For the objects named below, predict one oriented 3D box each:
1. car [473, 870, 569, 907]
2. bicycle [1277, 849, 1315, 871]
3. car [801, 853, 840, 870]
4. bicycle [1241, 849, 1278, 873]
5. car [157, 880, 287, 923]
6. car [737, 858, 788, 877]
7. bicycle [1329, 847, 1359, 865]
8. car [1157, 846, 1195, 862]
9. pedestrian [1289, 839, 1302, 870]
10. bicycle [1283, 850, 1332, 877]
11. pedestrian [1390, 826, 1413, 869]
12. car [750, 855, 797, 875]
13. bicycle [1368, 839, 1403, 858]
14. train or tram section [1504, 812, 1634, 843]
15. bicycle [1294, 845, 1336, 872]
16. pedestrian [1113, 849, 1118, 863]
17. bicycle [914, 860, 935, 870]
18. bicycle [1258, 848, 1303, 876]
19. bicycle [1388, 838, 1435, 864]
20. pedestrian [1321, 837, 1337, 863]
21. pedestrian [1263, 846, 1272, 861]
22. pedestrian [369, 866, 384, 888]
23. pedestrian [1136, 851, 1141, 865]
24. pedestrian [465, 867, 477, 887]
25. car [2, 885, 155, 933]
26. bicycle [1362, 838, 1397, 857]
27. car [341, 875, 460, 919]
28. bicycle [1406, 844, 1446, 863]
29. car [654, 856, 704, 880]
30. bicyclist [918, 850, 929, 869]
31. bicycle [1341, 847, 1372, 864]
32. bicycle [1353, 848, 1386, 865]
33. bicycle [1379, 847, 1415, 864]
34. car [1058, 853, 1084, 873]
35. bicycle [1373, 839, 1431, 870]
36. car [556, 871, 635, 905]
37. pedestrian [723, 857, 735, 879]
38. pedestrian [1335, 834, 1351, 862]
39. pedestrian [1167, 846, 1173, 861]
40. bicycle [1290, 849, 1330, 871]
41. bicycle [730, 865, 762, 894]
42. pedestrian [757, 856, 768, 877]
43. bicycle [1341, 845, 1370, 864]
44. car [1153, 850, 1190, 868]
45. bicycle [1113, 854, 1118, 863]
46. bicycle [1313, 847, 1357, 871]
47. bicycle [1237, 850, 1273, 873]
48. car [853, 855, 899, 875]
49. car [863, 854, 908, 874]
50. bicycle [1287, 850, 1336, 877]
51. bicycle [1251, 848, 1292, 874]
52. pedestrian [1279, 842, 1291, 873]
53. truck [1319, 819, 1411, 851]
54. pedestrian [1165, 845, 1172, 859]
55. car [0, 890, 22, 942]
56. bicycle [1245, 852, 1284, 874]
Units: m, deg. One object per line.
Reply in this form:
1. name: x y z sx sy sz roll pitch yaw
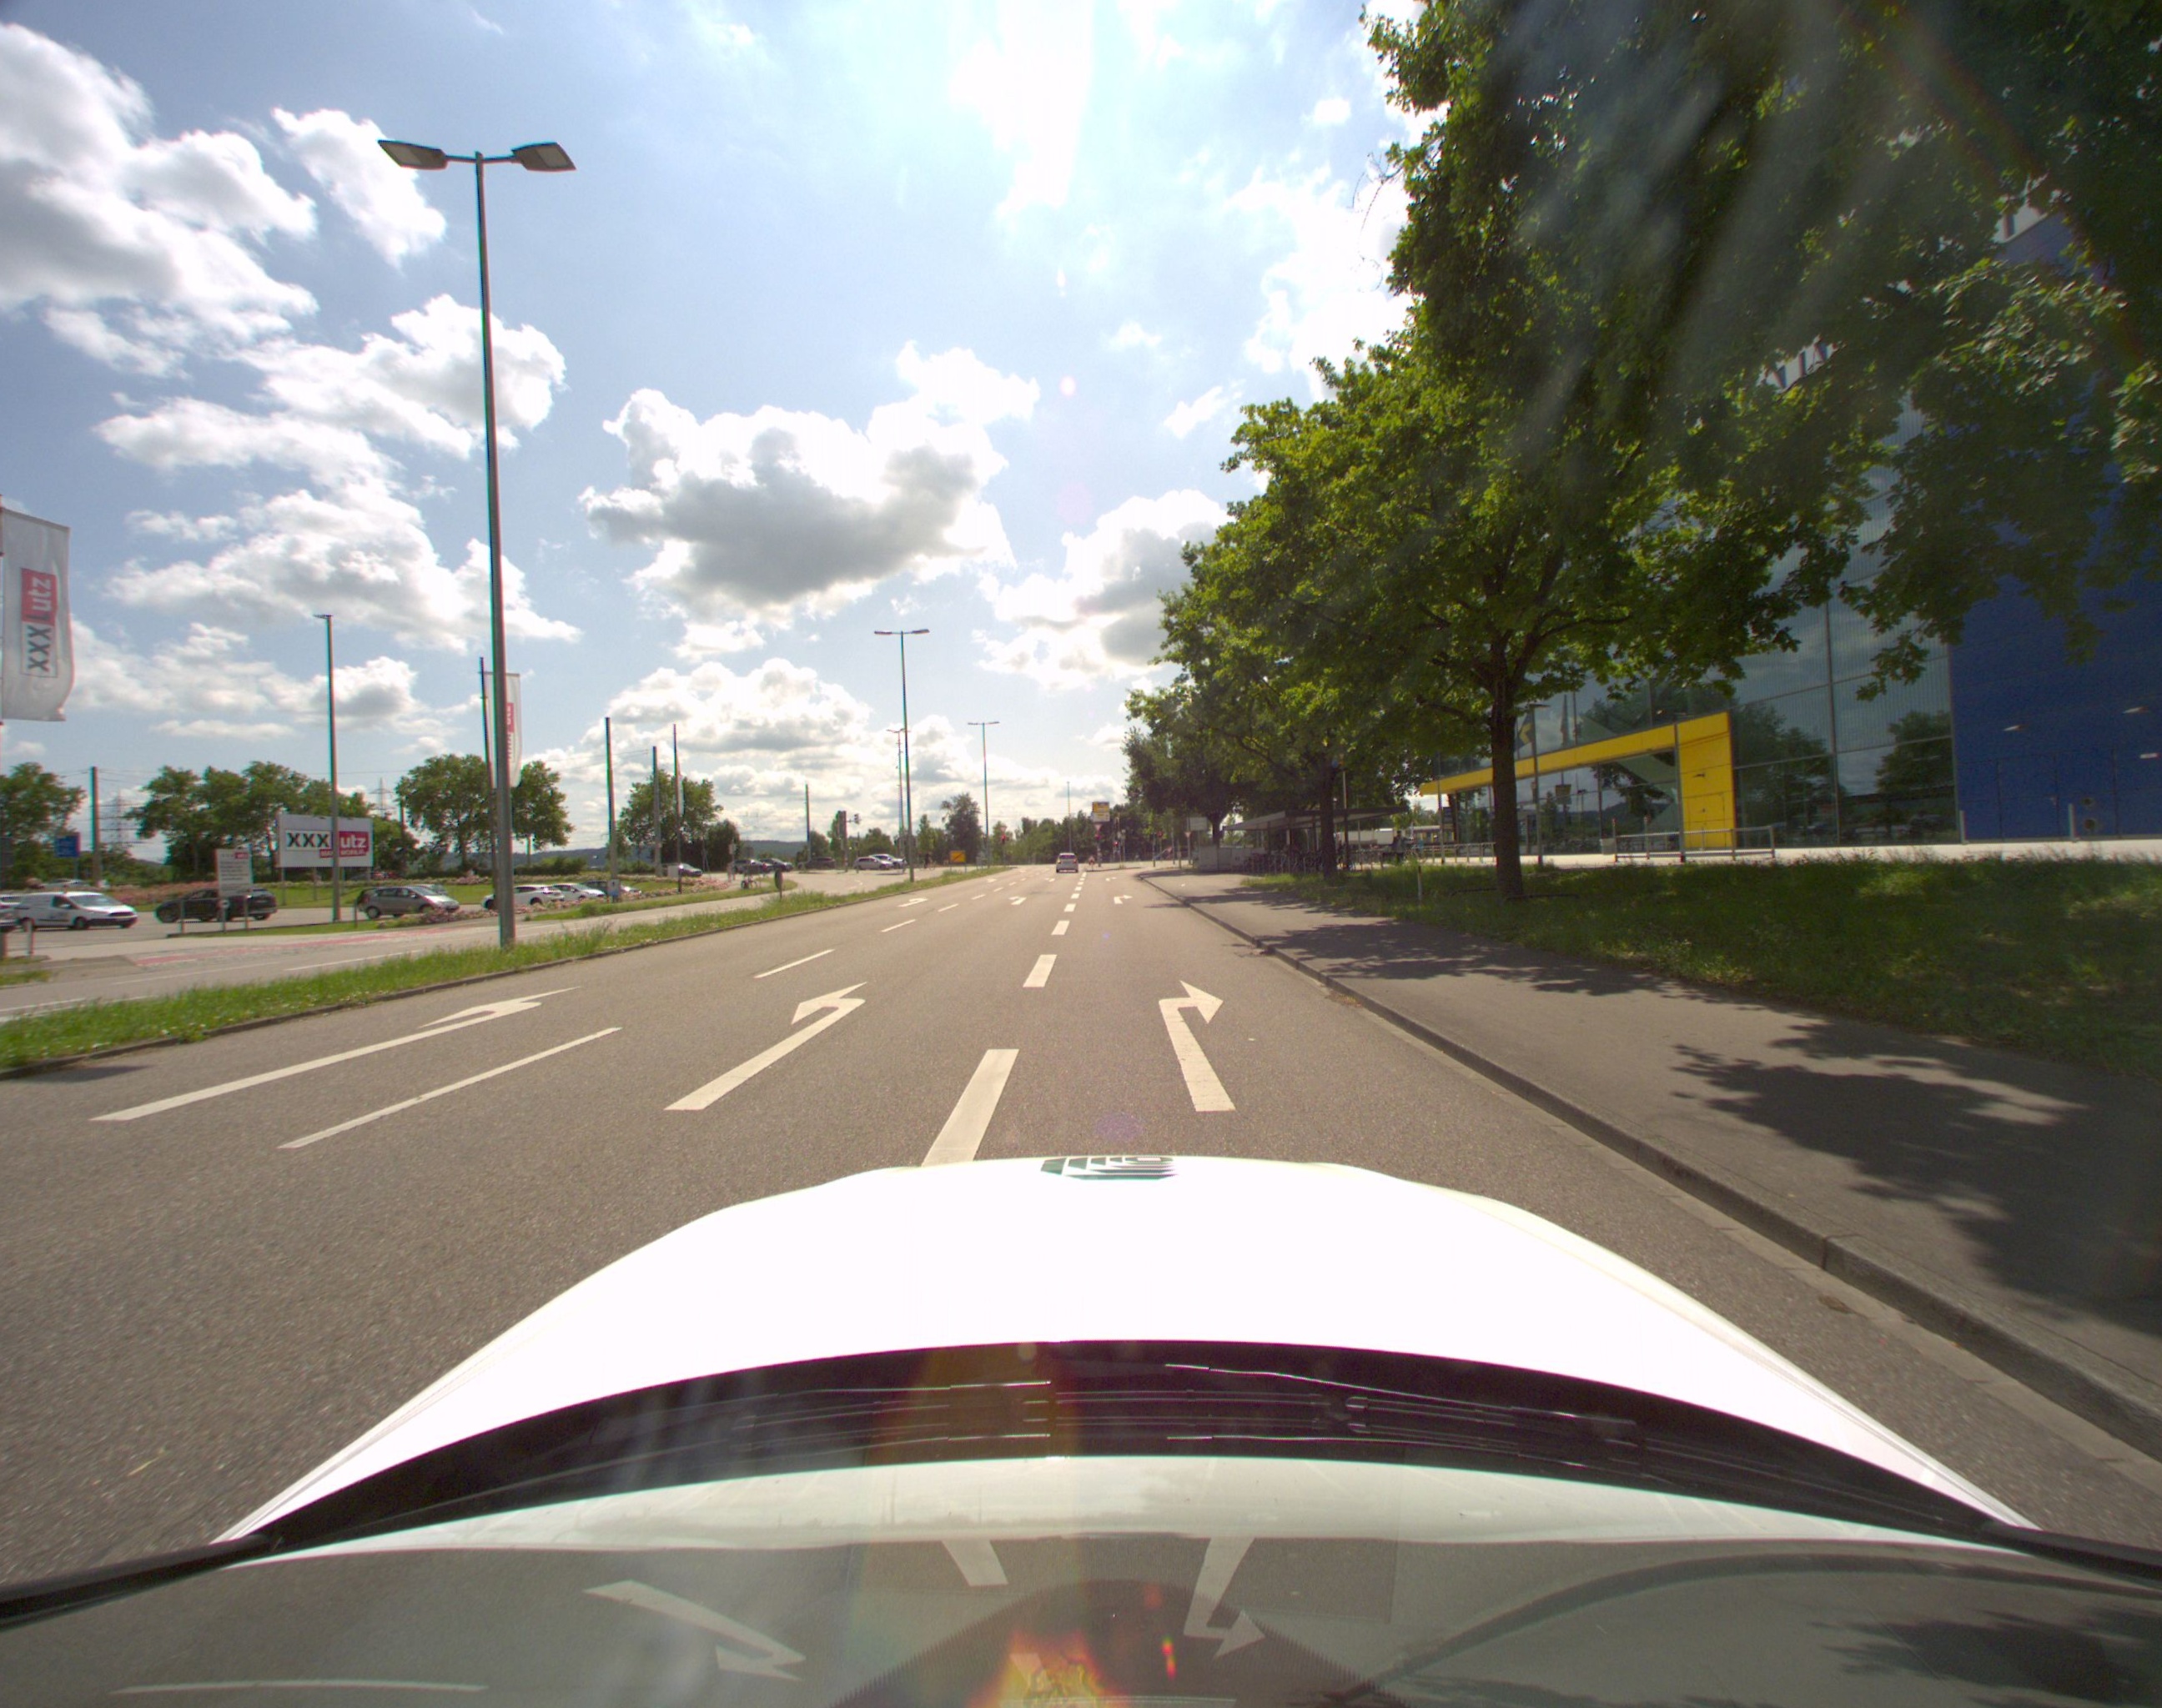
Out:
1. car: -33.814 2.068 49.272 4.334 1.989 2.000 -3 0 0
2. bicycle: 11.548 0.322 43.733 1.854 1.034 0.424 -3 0 2
3. car: -33.633 0.932 105.184 4.347 1.989 1.994 -3 0 -9
4. bicycle: 9.538 0.381 43.519 1.858 1.187 0.423 -3 0 -4
5. car: -44.349 2.440 42.102 4.567 1.989 2.000 -2 -1 0
6. car: -33.972 1.426 86.924 4.489 1.674 1.904 -4 -2 1
7. bicycle: 17.436 0.119 54.002 1.925 1.108 0.501 -3 -2 -18
8. car: 12.217 -0.008 105.454 4.636 1.820 2.000 -3 0 0
9. pedestrian: 11.709 0.002 44.501 0.542 1.662 0.478 -3 0 -1
10. bicycle: 9.519 0.391 34.238 1.858 0.994 0.423 -4 0 -4
11. pedestrian: 13.079 -0.258 33.217 0.626 1.721 0.528 -4 -2 37
12. car: -33.811 1.173 89.638 4.334 1.989 2.000 -3 0 0
13. bicycle: 18.054 -0.352 48.340 1.858 0.995 0.423 -4 -2 -4
14. train or tram section: 58.223 -3.126 97.301 14.021 3.186 3.044 -2 -1 -3
15. bicycle: 11.482 0.220 39.945 1.858 1.231 0.423 -3 0 -4
16. pedestrian: 4.324 0.217 102.301 0.608 1.769 0.673 -2 0 2
17. bicycle: -15.652 1.081 81.614 2.010 0.999 0.622 0 0 0
18. bicycle: 9.217 0.355 37.679 1.888 1.170 0.424 -4 0 2
19. bicycle: 17.542 -0.148 43.269 2.126 1.229 0.723 -4 0 10
20. pedestrian: 18.279 -0.272 59.997 1.000 1.902 0.978 -3 -2 15
21. pedestrian: 23.252 -0.052 101.627 0.924 1.807 0.736 -2 0 0
22. pedestrian: -66.233 2.179 76.561 0.560 2.013 0.779 -3 0 21
23. pedestrian: 7.088 0.461 99.897 0.520 1.721 0.731 -3 0 5
24. pedestrian: -55.183 2.084 73.641 0.529 1.810 0.599 -3 0 11
25. car: -45.238 2.468 36.809 4.334 1.839 2.000 -3 0 0
26. bicycle: 17.257 -0.383 47.125 1.858 0.994 0.423 -3 -1 -4
27. car: -34.890 2.191 41.846 4.334 1.989 2.000 -3 0 0
28. bicycle: 17.819 -0.010 42.101 1.855 0.881 0.471 -3 0 1
29. car: -38.596 1.337 78.221 3.956 2.013 2.009 -3 0 17
30. bicyclist: -15.741 0.541 81.622 0.918 1.846 0.611 -2 0 0
31. bicycle: 17.858 0.111 52.789 1.854 0.994 0.424 -3 0 2
32. bicycle: 17.746 0.152 50.170 1.858 0.994 0.464 -2 0 -4
33. bicycle: 17.702 0.083 45.669 1.858 0.882 0.423 -4 -1 -4
34. car: -0.731 0.701 64.047 1.887 1.470 3.835 -1 0 1
35. bicycle: 12.908 0.012 32.783 1.988 1.108 0.581 -5 -1 39
36. car: -32.500 2.252 54.591 3.987 2.013 1.993 -3 0 -10
37. pedestrian: -29.045 1.155 67.181 0.869 1.837 0.791 0 -1 -28
38. pedestrian: 19.449 -0.429 60.554 1.000 2.072 0.978 -3 -2 15
39. pedestrian: 10.998 -0.056 101.083 0.673 1.748 0.637 -2 1 3
40. bicycle: 11.554 0.317 41.169 1.858 0.995 0.423 -3 -2 -4
41. bicycle: -21.087 1.587 51.305 1.014 1.675 2.049 -3 0 1
42. pedestrian: -29.123 1.144 74.504 0.800 1.837 0.859 0 -1 -28
43. bicycle: 17.454 0.035 51.761 1.678 1.157 0.459 -3 0 -14
44. car: 10.510 0.580 94.376 3.976 1.783 1.909 -3 0 -1
45. bicycle: 4.336 0.577 102.334 0.616 1.087 1.723 -2 0 3
46. bicycle: 11.812 0.247 37.840 1.858 0.994 0.423 -4 -1 -4
47. bicycle: 9.559 0.424 44.838 1.858 1.187 0.423 -3 0 -4
48. car: -21.675 1.154 86.277 4.334 1.989 2.000 -3 0 0
49. car: -21.321 1.122 89.119 4.334 1.989 2.000 -3 0 0
50. bicycle: 9.541 0.384 33.748 1.858 0.994 0.423 -4 0 -4
51. bicycle: 9.331 0.347 39.906 1.858 1.187 0.423 -3 0 -4
52. pedestrian: 11.422 0.195 45.577 0.540 1.662 0.548 -2 0 11
53. truck: 40.283 -2.653 115.591 11.915 4.104 2.953 -2 0 1
54. pedestrian: 10.957 -0.272 101.796 0.703 1.721 0.601 -3 0 3
55. car: -44.494 2.541 31.506 4.334 1.989 2.000 -3 0 0
56. bicycle: 9.310 0.444 41.337 1.858 0.994 0.423 -3 0 -4
